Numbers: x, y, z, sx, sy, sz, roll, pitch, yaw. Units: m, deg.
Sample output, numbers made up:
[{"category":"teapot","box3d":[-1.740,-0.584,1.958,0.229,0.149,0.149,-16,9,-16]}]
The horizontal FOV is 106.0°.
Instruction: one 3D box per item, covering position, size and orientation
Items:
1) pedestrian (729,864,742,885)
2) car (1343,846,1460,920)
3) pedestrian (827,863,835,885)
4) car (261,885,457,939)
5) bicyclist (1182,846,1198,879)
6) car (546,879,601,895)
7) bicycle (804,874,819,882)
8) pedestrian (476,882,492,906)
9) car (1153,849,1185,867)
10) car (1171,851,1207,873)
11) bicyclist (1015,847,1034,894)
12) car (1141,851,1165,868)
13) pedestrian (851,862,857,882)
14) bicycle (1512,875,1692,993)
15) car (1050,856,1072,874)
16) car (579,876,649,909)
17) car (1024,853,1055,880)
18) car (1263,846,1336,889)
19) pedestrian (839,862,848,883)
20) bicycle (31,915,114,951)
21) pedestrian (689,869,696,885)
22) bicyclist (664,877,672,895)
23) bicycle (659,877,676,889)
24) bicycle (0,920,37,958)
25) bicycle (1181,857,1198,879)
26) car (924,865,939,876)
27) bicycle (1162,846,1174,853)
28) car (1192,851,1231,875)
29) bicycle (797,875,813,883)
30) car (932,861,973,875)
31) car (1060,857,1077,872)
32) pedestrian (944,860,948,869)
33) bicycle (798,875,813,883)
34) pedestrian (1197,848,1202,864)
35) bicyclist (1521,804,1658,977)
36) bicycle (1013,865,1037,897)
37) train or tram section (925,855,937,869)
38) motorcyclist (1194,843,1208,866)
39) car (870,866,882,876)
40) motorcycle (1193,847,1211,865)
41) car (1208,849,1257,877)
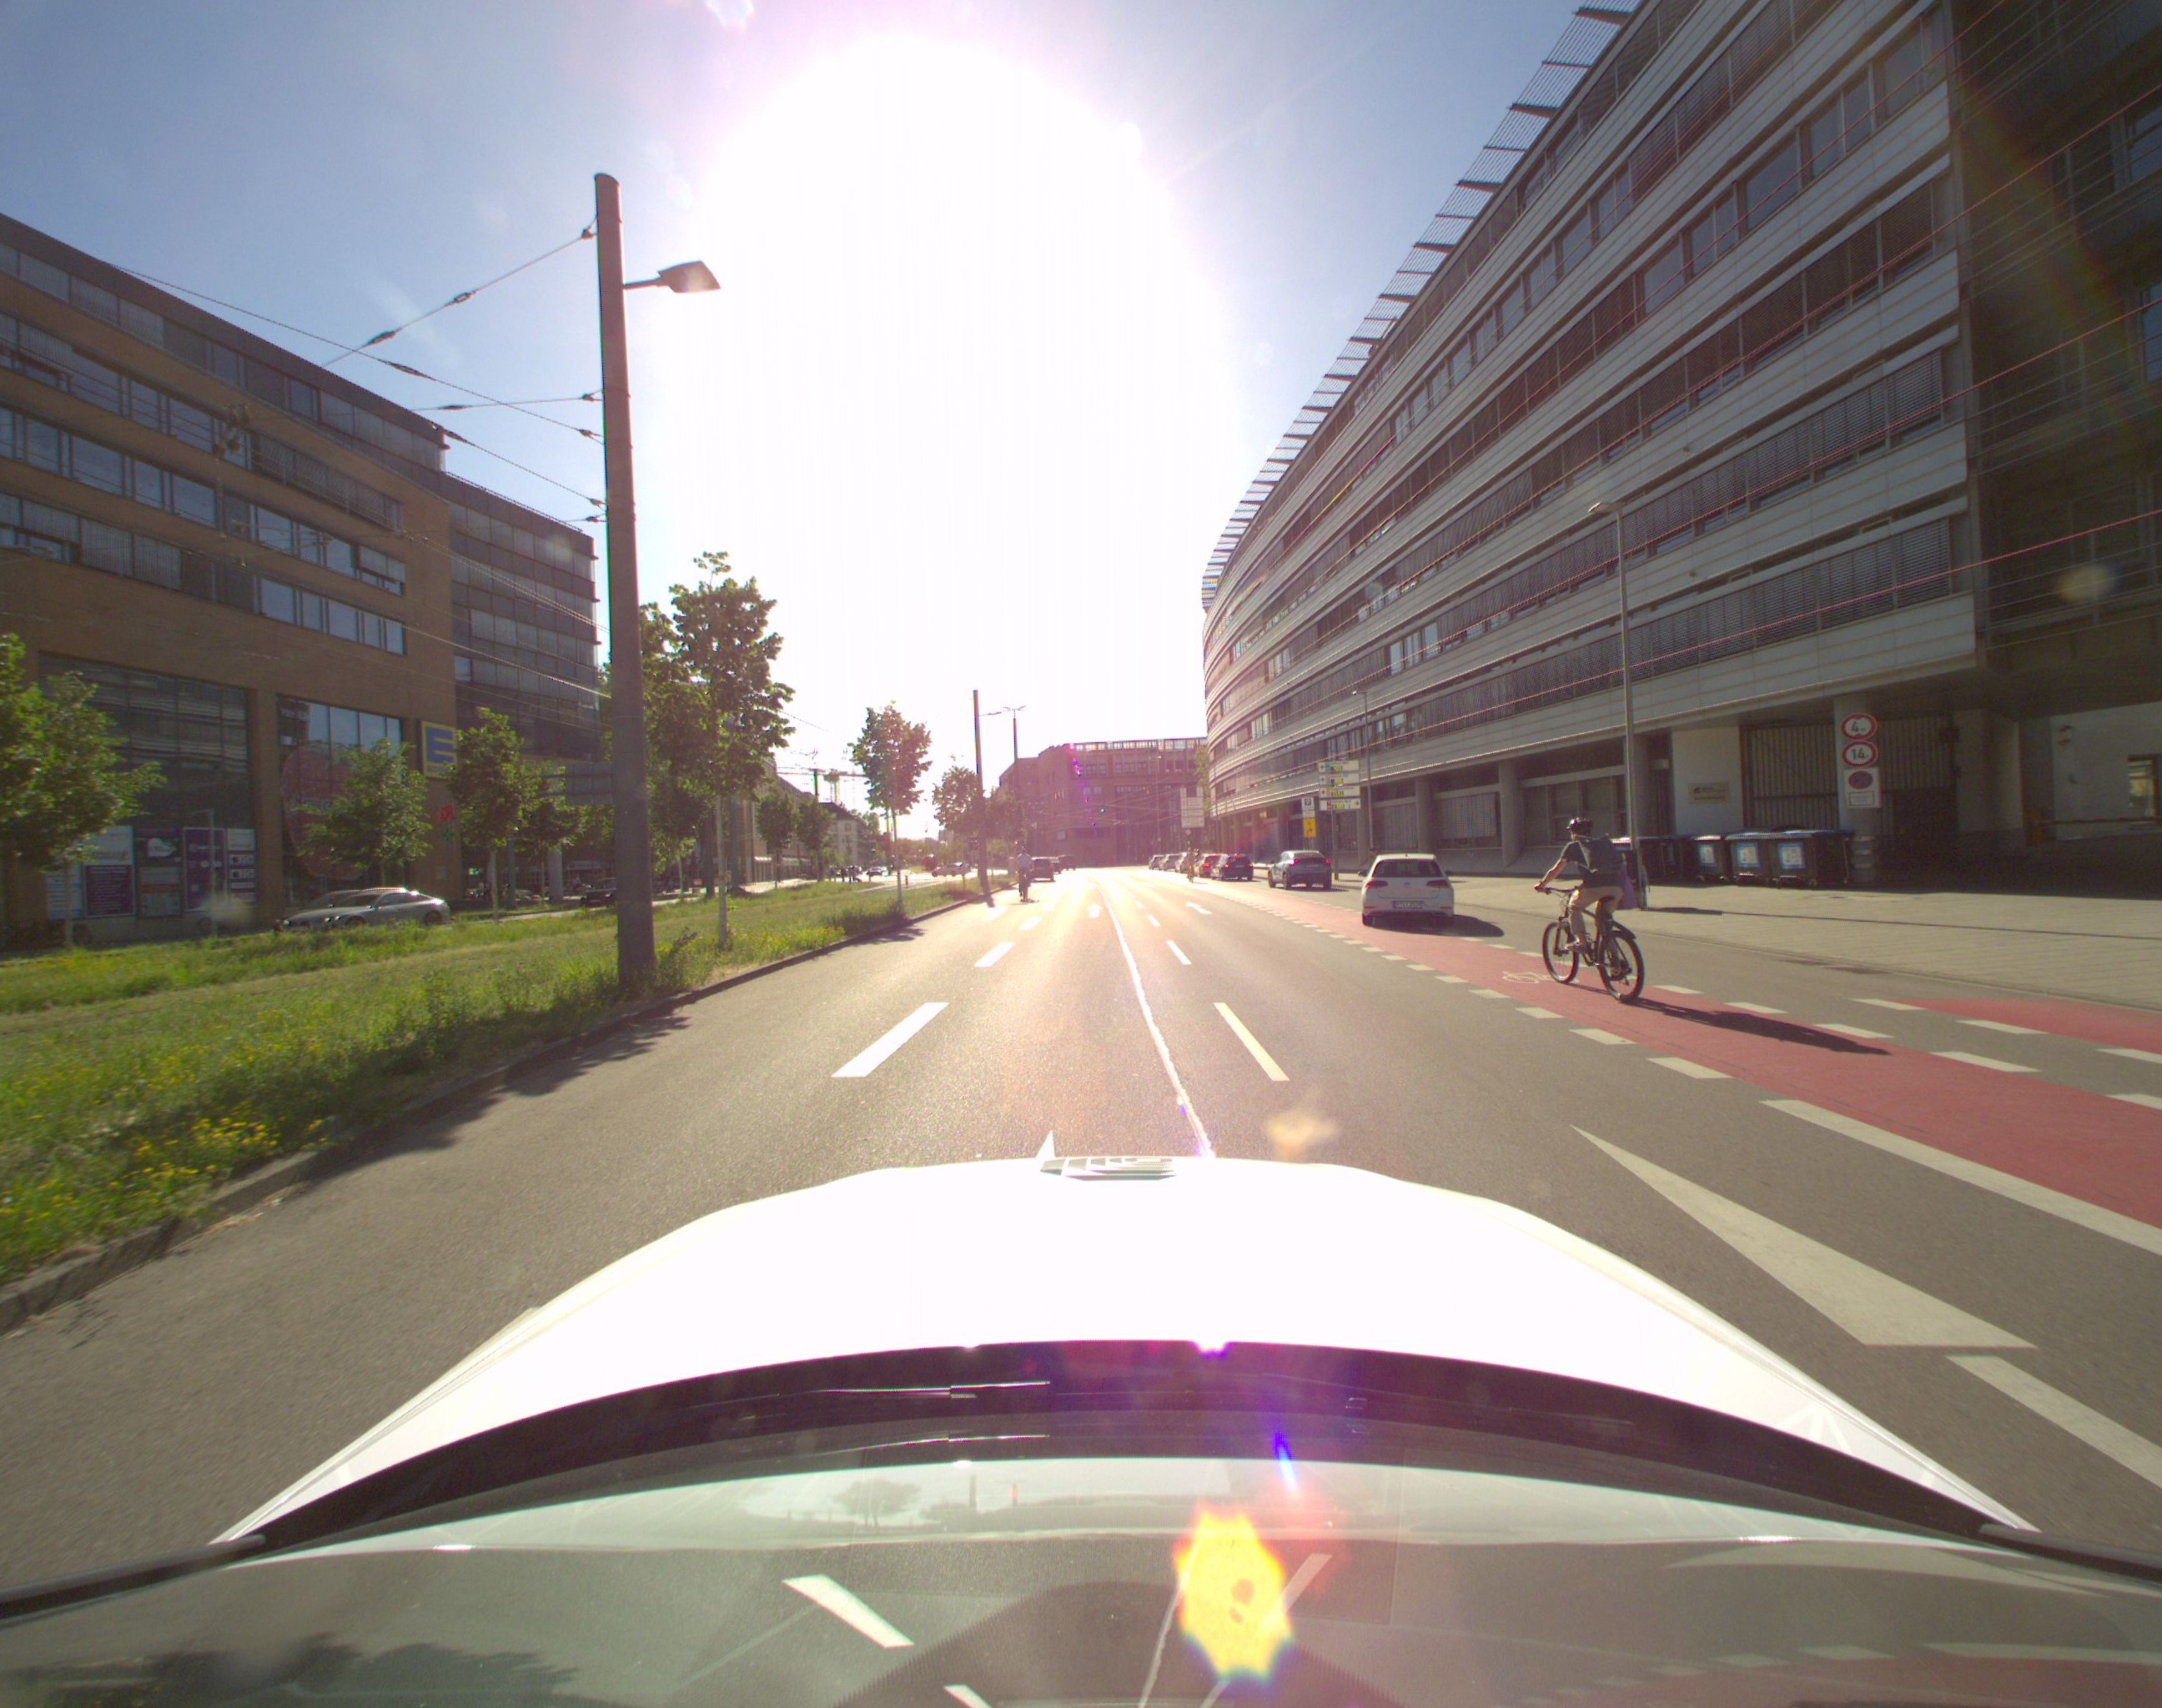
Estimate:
[{"category":"pedestrian","box3d":[-30.518,1.818,71.991,0.757,1.831,0.626,-3,0,8]},{"category":"car","box3d":[6.790,0.541,17.673,1.760,1.403,4.309,-1,0,13]},{"category":"pedestrian","box3d":[-21.925,1.748,71.372,0.464,1.831,0.453,-3,0,-39]},{"category":"car","box3d":[-23.341,1.825,26.656,1.986,1.334,4.792,-3,0,2]},{"category":"bicyclist","box3d":[5.884,0.444,44.074,0.647,1.752,1.046,-3,1,1]},{"category":"car","box3d":[-48.635,3.181,78.109,3.977,1.231,1.998,-3,0,-2]},{"category":"bicycle","box3d":[-49.576,4.468,149.800,2.479,1.310,0.732,-3,0,-4]},{"category":"pedestrian","box3d":[-41.838,2.800,57.096,0.505,1.624,0.787,-3,-2,-1]},{"category":"car","box3d":[7.678,0.326,71.349,1.904,1.541,4.129,-1,0,-6]},{"category":"car","box3d":[8.300,0.613,62.903,1.903,1.583,4.130,-1,0,-5]},{"category":"bicyclist","box3d":[-2.058,0.597,29.802,0.616,1.669,1.019,-1,0,0]},{"category":"car","box3d":[7.256,0.526,82.348,1.902,1.583,4.133,-1,0,-3]},{"category":"pedestrian","box3d":[-20.907,1.639,75.052,0.388,1.831,0.459,-3,0,-32]},{"category":"bicycle","box3d":[5.415,0.782,8.633,0.821,1.037,1.894,-1,0,5]},{"category":"car","box3d":[-1.808,0.960,72.802,1.723,1.448,4.515,-3,0,-3]},{"category":"car","box3d":[-22.916,1.865,40.098,1.423,1.359,3.297,-3,0,2]},{"category":"car","box3d":[-2.609,0.781,51.818,1.721,1.564,3.676,-3,0,-1]},{"category":"car","box3d":[8.693,0.509,32.767,1.716,1.524,4.398,-2,0,0]},{"category":"pedestrian","box3d":[-21.143,1.643,72.568,0.585,1.831,0.492,-3,0,-39]},{"category":"bicycle","box3d":[-34.781,2.718,28.101,2.161,1.123,0.755,-2,0,8]},{"category":"pedestrian","box3d":[-48.307,2.847,101.253,0.523,1.932,0.748,-3,0,-14]},{"category":"bicyclist","box3d":[-32.394,2.477,63.917,0.339,1.377,0.481,-3,-2,-2]},{"category":"bicycle","box3d":[-32.400,2.241,63.842,0.352,0.926,1.893,-3,-1,-2]},{"category":"bicycle","box3d":[-35.148,2.747,26.310,2.161,1.123,0.755,-2,0,8]},{"category":"bicycle","box3d":[5.903,0.756,44.408,0.647,1.110,1.758,-3,1,1]},{"category":"car","box3d":[-26.480,2.881,144.202,2.267,1.727,3.922,-3,0,-16]},{"category":"bicycle","box3d":[12.921,-0.632,120.979,1.675,0.994,0.669,-3,0,-21]},{"category":"car","box3d":[8.311,0.556,52.224,1.716,1.396,4.787,-2,0,0]},{"category":"bicycle","box3d":[-50.194,4.494,148.097,2.479,1.310,0.732,-3,0,-4]},{"category":"car","box3d":[-14.887,1.584,94.253,4.355,1.381,2.080,-3,0,31]},{"category":"car","box3d":[-1.502,1.251,98.146,1.778,1.703,4.133,-1,0,-4]},{"category":"pedestrian","box3d":[-25.995,1.997,156.953,0.539,1.655,0.703,-3,0,-15]},{"category":"bicycle","box3d":[-49.702,4.470,146.958,2.479,1.310,0.732,-3,0,-4]},{"category":"pedestrian","box3d":[12.264,0.169,84.326,0.425,1.645,0.564,-4,1,10]},{"category":"bicyclist","box3d":[5.292,0.362,8.551,0.803,1.693,1.053,-1,0,5]},{"category":"bicycle","box3d":[-2.048,0.960,29.972,0.684,1.069,2.696,-1,0,0]},{"category":"train or tram section","box3d":[-33.716,1.759,183.237,2.327,3.003,13.113,-3,0,-10]},{"category":"motorcyclist","box3d":[8.449,0.052,57.393,0.826,1.561,0.941,-2,-1,-2]},{"category":"car","box3d":[-33.794,2.734,134.342,1.611,1.397,3.902,-7,1,-13]},{"category":"motorcycle","box3d":[8.482,0.129,57.103,0.826,1.201,2.389,-2,0,-1]},{"category":"car","box3d":[8.393,0.487,45.525,1.717,1.422,4.634,-3,0,-2]}]
